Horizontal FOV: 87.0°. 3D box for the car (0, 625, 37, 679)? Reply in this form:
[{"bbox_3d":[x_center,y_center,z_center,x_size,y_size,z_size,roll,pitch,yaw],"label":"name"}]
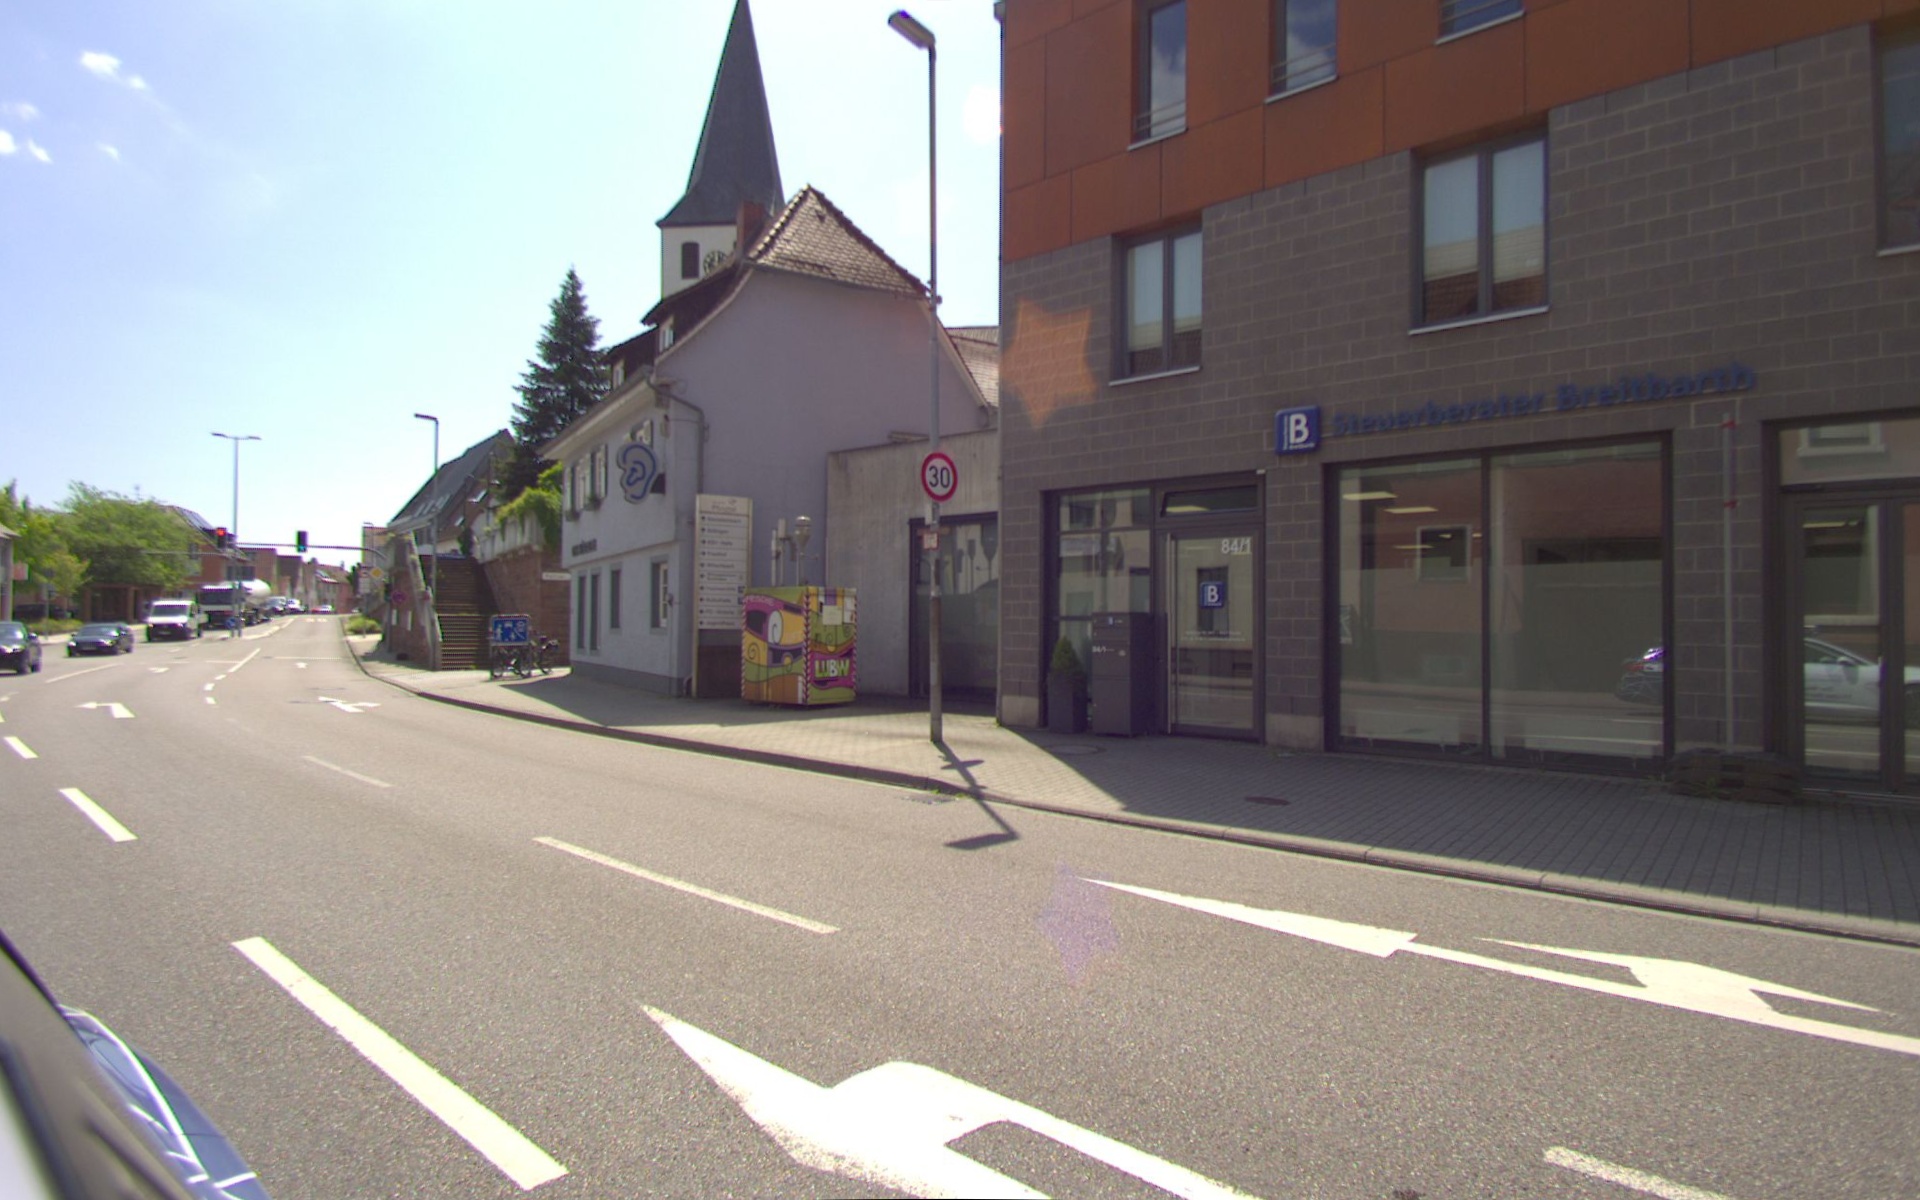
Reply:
[{"bbox_3d":[-29.860,1.572,31.214,1.698,1.562,4.312,0,-1,-38],"label":"car"}]

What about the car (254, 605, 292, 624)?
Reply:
[{"bbox_3d":[-63.662,1.343,93.800,1.978,1.643,4.592,1,-2,-22],"label":"car"}]

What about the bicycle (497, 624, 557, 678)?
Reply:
[{"bbox_3d":[-10.974,1.278,25.722,0.571,1.258,1.828,-3,-1,5],"label":"bicycle"}]

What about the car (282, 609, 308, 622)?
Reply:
[{"bbox_3d":[-86.159,2.054,131.199,1.978,1.643,4.592,1,-2,-23],"label":"car"}]

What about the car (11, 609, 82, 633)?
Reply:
[{"bbox_3d":[-68.645,1.558,76.109,3.700,1.723,1.729,0,-1,-34],"label":"car"}]

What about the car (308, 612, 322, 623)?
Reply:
[{"bbox_3d":[-105.573,2.942,165.749,1.737,1.799,4.012,0,-1,-30],"label":"car"}]

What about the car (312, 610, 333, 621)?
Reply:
[{"bbox_3d":[-99.389,2.447,157.830,1.978,1.643,4.592,1,-2,-22],"label":"car"}]

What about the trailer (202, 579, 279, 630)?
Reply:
[{"bbox_3d":[-56.108,0.495,79.212,2.790,3.597,11.001,1,-2,-24],"label":"trailer"}]

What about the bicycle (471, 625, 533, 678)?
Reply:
[{"bbox_3d":[-11.619,1.282,25.715,0.571,1.258,1.828,-3,-1,5],"label":"bicycle"}]

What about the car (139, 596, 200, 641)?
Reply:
[{"bbox_3d":[-46.948,1.142,60.209,2.139,2.583,4.839,2,-2,-30],"label":"car"}]

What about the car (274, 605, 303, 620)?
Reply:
[{"bbox_3d":[-79.929,1.542,120.491,1.978,1.643,4.592,1,-2,-22],"label":"car"}]

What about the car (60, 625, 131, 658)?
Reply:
[{"bbox_3d":[-39.455,1.857,46.266,1.898,1.376,4.315,0,-1,-33],"label":"car"}]

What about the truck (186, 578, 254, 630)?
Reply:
[{"bbox_3d":[-53.323,0.352,73.065,2.800,3.597,5.486,1,-2,-24],"label":"truck"}]
